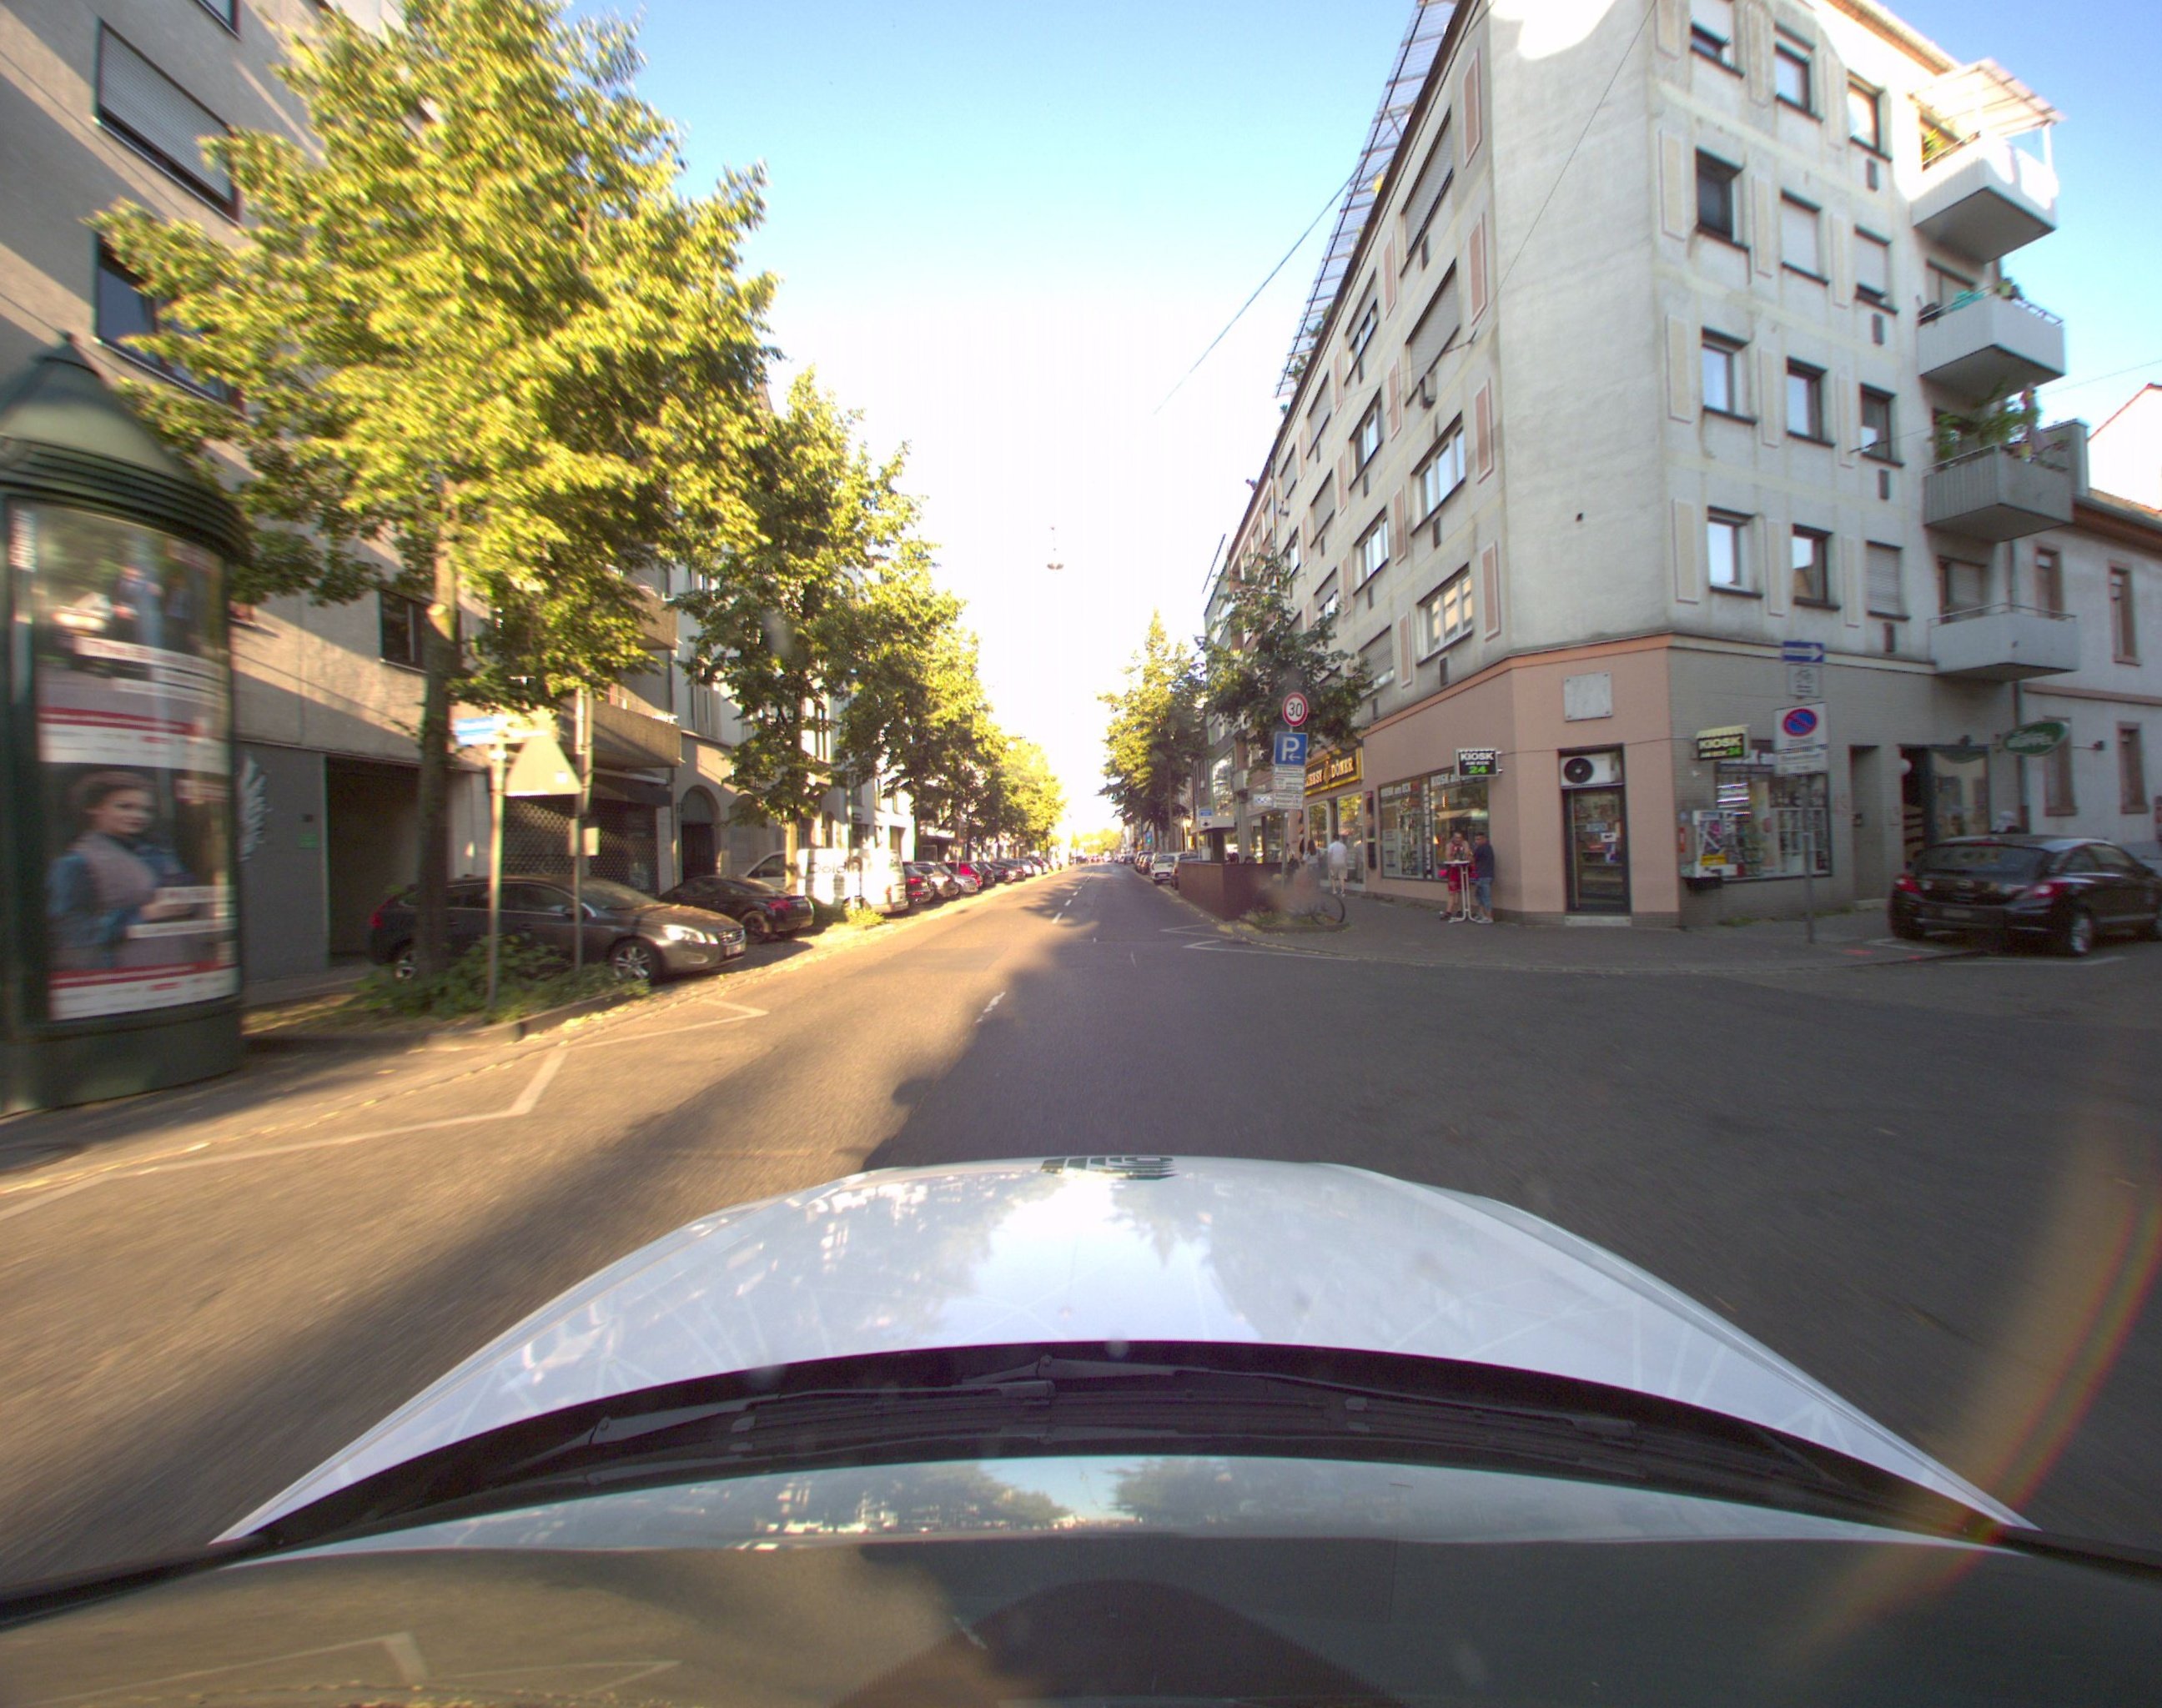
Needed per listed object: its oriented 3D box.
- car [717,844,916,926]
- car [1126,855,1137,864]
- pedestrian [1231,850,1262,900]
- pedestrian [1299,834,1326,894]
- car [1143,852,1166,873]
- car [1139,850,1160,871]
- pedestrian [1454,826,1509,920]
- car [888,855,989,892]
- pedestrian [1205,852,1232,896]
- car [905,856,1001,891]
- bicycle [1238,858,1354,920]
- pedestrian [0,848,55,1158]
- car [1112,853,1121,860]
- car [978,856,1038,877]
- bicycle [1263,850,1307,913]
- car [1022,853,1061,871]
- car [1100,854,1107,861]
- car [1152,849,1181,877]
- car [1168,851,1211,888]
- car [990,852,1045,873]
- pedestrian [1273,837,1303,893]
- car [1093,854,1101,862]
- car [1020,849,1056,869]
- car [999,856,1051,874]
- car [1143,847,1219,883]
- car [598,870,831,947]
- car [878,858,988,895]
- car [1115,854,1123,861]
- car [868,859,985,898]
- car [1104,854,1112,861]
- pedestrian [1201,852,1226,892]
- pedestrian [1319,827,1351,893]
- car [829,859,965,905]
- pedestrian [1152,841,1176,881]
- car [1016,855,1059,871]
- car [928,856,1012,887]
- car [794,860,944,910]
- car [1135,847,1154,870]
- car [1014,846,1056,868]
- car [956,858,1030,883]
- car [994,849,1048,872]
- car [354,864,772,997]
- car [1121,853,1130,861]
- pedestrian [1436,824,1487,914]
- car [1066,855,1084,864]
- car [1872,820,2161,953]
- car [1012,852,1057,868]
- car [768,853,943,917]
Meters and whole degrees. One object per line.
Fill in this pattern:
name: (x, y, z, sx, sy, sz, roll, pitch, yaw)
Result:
car: (-6.919, 0.781, 21.643, 4.555, 1.961, 1.991, -2, 0, 1)
car: (7.395, 0.745, 119.394, 1.507, 1.276, 3.306, -2, 0, 3)
pedestrian: (4.739, 0.602, 23.344, 0.723, 1.378, 0.781, -2, 0, 2)
pedestrian: (6.635, 0.281, 23.372, 0.627, 1.680, 0.894, -2, 0, 10)
car: (5.409, 0.613, 60.019, 1.507, 1.406, 3.839, -2, 0, 3)
car: (5.420, 0.492, 65.022, 1.507, 1.561, 3.516, -2, 0, 3)
pedestrian: (7.033, 0.321, 14.321, 0.565, 1.583, 0.664, -4, 1, 2)
car: (-6.771, 0.911, 39.037, 4.425, 1.638, 1.860, -2, 0, 2)
pedestrian: (4.507, 0.652, 26.662, 0.723, 1.378, 0.781, -2, 0, 2)
car: (-6.436, 0.972, 41.261, 4.425, 1.568, 1.920, -2, 0, 2)
bicycle: (4.007, 0.653, 15.216, 1.935, 1.074, 0.710, -2, 0, 33)
pedestrian: (-6.293, 0.827, 4.283, 0.706, 1.686, 0.836, -2, 0, 10)
car: (7.559, 0.506, 172.185, 1.745, 1.540, 3.306, -3, 0, 3)
car: (-5.638, 0.976, 63.452, 4.425, 1.523, 1.920, -2, 0, 2)
bicycle: (4.195, 0.534, 16.673, 0.593, 1.177, 1.856, -2, 0, 21)
car: (-4.671, 0.944, 97.069, 4.425, 1.959, 1.920, -2, 0, 2)
car: (5.591, 0.815, 199.895, 1.563, 1.506, 3.306, -3, 0, 3)
car: (5.012, 0.508, 48.128, 1.507, 1.578, 3.220, -2, 0, 3)
car: (4.596, 0.625, 34.830, 1.536, 1.432, 3.681, -2, 0, 3)
car: (-5.262, 0.697, 67.762, 4.287, 1.598, 1.920, -2, 0, 2)
pedestrian: (6.151, 0.322, 24.198, 0.791, 1.625, 0.915, -2, 0, 14)
car: (3.514, 0.838, 179.921, 1.745, 1.540, 3.306, -3, 0, 3)
car: (-5.669, 0.676, 107.344, 4.425, 2.435, 1.920, -2, 0, 2)
car: (-5.026, 0.975, 72.982, 4.425, 1.499, 1.920, -2, 0, 2)
car: (4.959, 0.517, 40.009, 1.654, 1.588, 3.846, -1, 0, 44)
car: (-7.359, 1.066, 16.644, 3.773, 1.391, 2.046, -1, -1, 4)
car: (-6.533, 0.982, 36.274, 4.425, 1.458, 1.860, -2, 0, 2)
car: (7.469, 0.636, 160.455, 1.507, 1.298, 3.306, -2, 0, 3)
car: (-6.389, 0.996, 33.963, 4.425, 1.484, 1.810, -2, 0, 2)
car: (6.108, 0.786, 184.796, 1.714, 1.475, 3.306, -3, 0, 3)
pedestrian: (4.717, 0.620, 28.966, 0.723, 1.378, 0.781, -2, 0, 2)
pedestrian: (7.126, 0.172, 22.901, 0.693, 1.804, 0.894, -2, 0, 10)
car: (-6.564, 0.984, 29.394, 4.425, 1.506, 1.845, -2, 0, 2)
pedestrian: (4.126, 0.347, 40.459, 0.916, 1.926, 1.014, -1, 0, -8)
car: (-4.596, 0.982, 86.896, 4.425, 1.578, 1.920, -2, 0, 2)
car: (-6.220, 0.960, 45.974, 4.425, 1.568, 1.920, -2, 0, 2)
car: (-6.944, 1.016, 26.954, 4.425, 1.467, 1.781, -2, 0, 2)
car: (5.557, 0.388, 71.847, 1.507, 1.864, 4.238, -2, 0, 3)
car: (-5.009, 0.313, 89.226, 4.425, 2.199, 1.920, -2, 0, 2)
car: (-5.647, 1.032, 52.487, 4.425, 1.448, 1.920, -2, 0, 2)
car: (-5.119, 0.549, 69.863, 4.425, 1.759, 1.920, -2, 0, 2)
car: (-6.896, 0.976, 11.208, 4.531, 1.541, 1.811, -2, 0, 0)
car: (7.557, 0.561, 137.669, 1.507, 1.263, 3.306, -2, 0, 3)
pedestrian: (7.044, 0.265, 15.086, 0.565, 1.599, 0.664, -4, 1, 2)
car: (-1.005, 0.927, 139.792, 1.910, 1.571, 3.322, -2, 0, 24)
car: (12.870, 0.330, 11.052, 3.679, 1.488, 1.776, -2, 2, -23)
car: (-4.751, 0.606, 84.076, 4.425, 1.578, 1.920, -2, 0, 2)
car: (-6.639, 0.890, 24.350, 4.554, 1.697, 2.061, -2, 0, 2)
